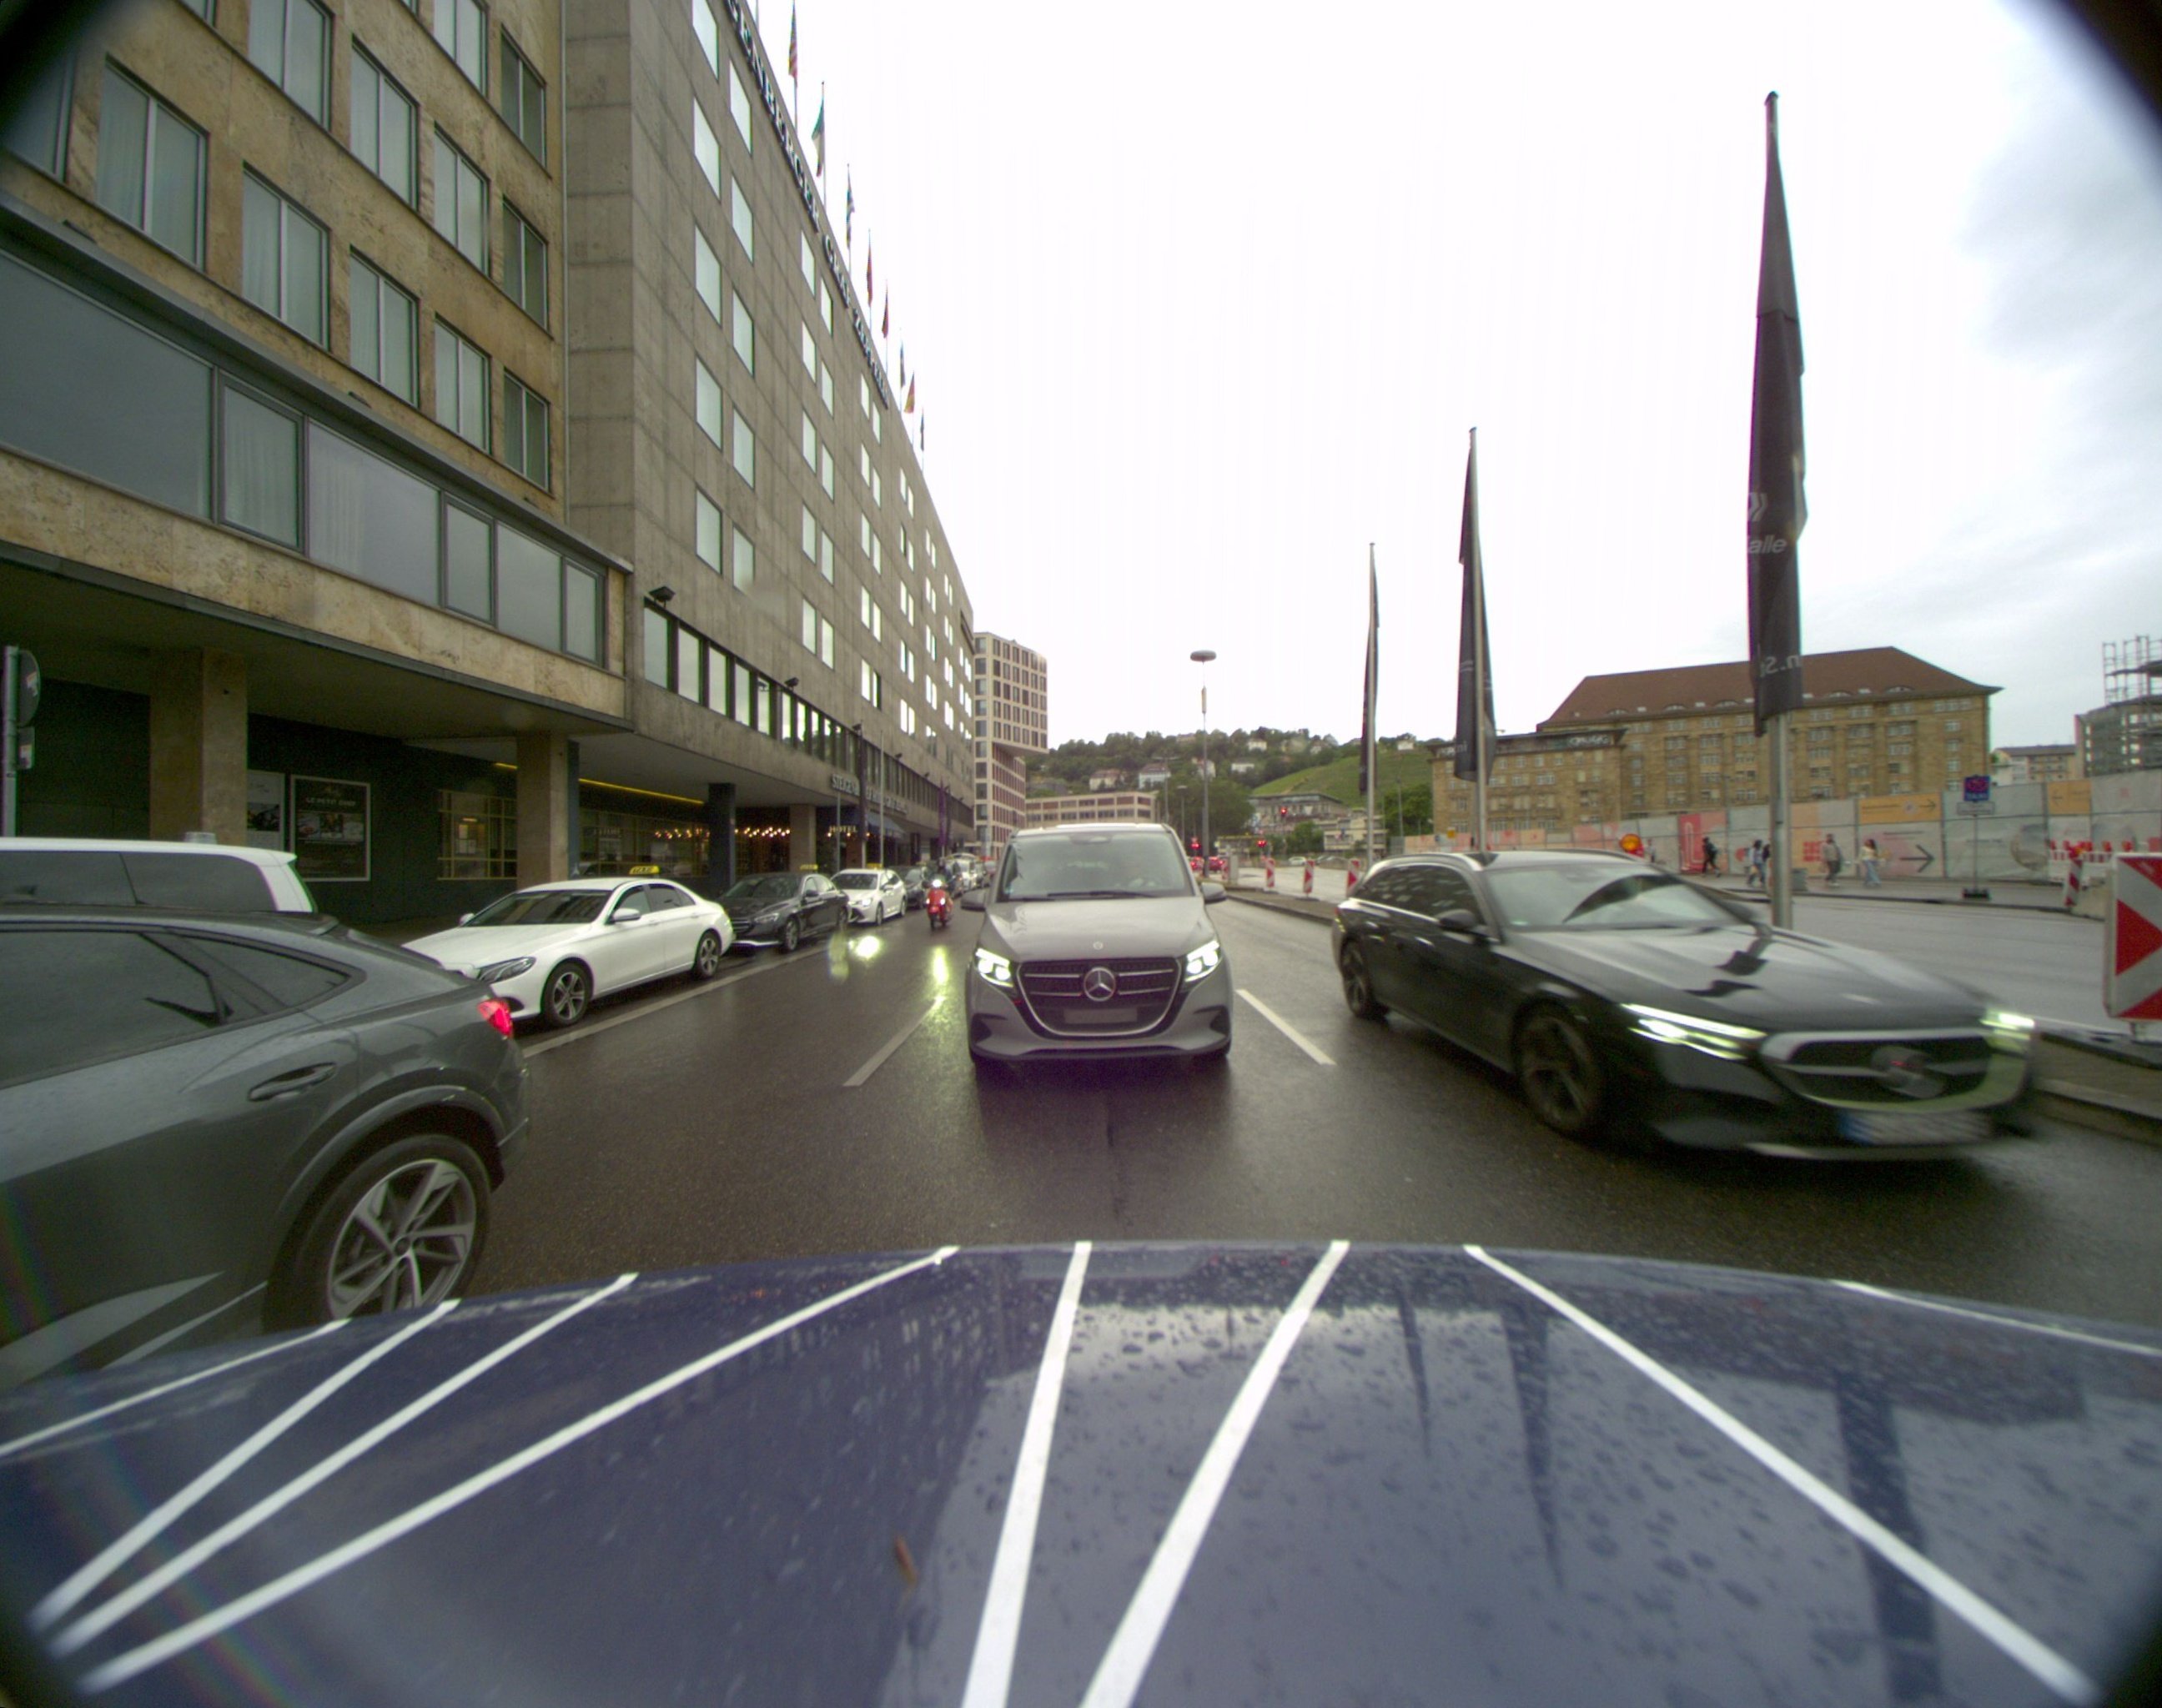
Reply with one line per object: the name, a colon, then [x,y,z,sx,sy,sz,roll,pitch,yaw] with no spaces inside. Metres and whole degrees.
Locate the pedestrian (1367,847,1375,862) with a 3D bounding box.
pedestrian: [31.495,0.094,82.602,0.715,1.606,0.544,-2,1,14]

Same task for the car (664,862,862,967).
car: [-6.084,1.050,15.309,1.879,1.628,4.814,-2,1,0]

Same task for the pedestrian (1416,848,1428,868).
pedestrian: [28.513,0.347,63.504,0.715,1.606,0.544,-2,1,1]

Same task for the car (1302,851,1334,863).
car: [32.664,0.434,104.761,3.993,1.622,2.002,-1,0,14]

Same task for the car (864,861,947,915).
car: [-6.054,1.121,26.851,1.731,1.583,4.814,-2,1,0]

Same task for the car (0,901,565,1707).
car: [-3.128,0.992,0.945,1.883,1.493,4.342,-2,1,1]

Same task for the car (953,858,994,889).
car: [-6.136,1.066,43.727,1.731,1.604,4.001,-2,1,0]

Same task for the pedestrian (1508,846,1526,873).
pedestrian: [26.173,0.315,45.650,0.715,1.606,0.544,-2,1,1]

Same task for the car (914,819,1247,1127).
car: [0.038,0.725,7.306,1.998,1.849,5.160,-2,1,1]

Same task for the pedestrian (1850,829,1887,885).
pedestrian: [26.116,0.110,25.216,0.661,1.825,0.556,-2,1,21]

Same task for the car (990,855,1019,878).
car: [-5.915,0.965,59.226,1.731,1.604,4.001,-2,1,0]

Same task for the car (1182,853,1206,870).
car: [11.818,0.791,79.827,1.785,1.684,3.916,-2,1,-1]

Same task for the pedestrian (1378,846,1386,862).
pedestrian: [32.473,0.008,82.014,0.715,1.606,0.544,-2,1,14]

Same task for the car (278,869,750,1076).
car: [-6.102,1.100,9.225,1.879,1.628,5.010,-2,1,0]

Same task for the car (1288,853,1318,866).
car: [34.390,0.834,117.673,4.194,1.846,1.832,-2,1,6]

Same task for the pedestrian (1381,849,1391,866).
pedestrian: [29.148,0.292,72.557,0.715,1.606,0.544,-2,1,1]

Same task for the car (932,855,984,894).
car: [-6.100,0.957,38.219,1.731,1.732,4.814,-2,1,0]

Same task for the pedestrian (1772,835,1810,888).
pedestrian: [24.790,0.256,26.534,0.714,1.825,0.718,-2,1,19]

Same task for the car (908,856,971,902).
car: [-6.062,0.997,33.022,1.731,1.732,4.814,-2,1,0]

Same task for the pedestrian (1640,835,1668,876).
pedestrian: [26.039,0.068,34.531,0.664,1.825,0.720,-2,1,1]

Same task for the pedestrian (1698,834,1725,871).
pedestrian: [28.048,-0.067,33.781,0.715,1.606,0.544,-2,1,1]

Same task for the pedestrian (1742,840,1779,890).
pedestrian: [23.984,0.398,26.839,0.714,1.723,0.718,-2,1,19]

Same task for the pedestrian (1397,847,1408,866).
pedestrian: [27.926,0.177,65.989,0.715,1.606,0.544,-2,1,1]

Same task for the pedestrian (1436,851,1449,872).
pedestrian: [28.199,0.555,59.248,0.715,1.606,0.544,-2,1,1]

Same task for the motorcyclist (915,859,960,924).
motorcyclist: [-3.502,0.904,18.618,0.861,1.519,0.844,-2,1,1]

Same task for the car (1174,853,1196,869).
car: [11.813,0.736,86.610,1.785,1.684,3.916,-2,1,-1]

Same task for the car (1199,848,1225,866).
car: [12.482,0.298,72.331,1.785,1.684,3.916,-1,0,0]

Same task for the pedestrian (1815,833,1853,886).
pedestrian: [25.481,0.187,25.727,0.714,1.734,0.564,-2,1,21]

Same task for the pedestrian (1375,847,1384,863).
pedestrian: [30.539,0.119,77.775,0.715,1.606,0.544,-2,1,1]

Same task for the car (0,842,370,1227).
car: [-6.332,0.935,3.222,1.879,1.909,4.935,-2,1,0]

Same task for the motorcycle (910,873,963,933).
motorcycle: [-3.492,1.153,18.536,0.848,1.299,1.965,-2,1,1]

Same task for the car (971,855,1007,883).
car: [-5.883,0.914,48.905,1.731,1.604,4.001,-2,1,0]

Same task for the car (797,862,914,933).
car: [-6.052,1.091,21.036,1.731,1.583,4.814,-2,1,0]

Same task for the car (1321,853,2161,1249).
car: [3.316,0.774,5.270,1.860,1.461,4.586,-2,1,1]
